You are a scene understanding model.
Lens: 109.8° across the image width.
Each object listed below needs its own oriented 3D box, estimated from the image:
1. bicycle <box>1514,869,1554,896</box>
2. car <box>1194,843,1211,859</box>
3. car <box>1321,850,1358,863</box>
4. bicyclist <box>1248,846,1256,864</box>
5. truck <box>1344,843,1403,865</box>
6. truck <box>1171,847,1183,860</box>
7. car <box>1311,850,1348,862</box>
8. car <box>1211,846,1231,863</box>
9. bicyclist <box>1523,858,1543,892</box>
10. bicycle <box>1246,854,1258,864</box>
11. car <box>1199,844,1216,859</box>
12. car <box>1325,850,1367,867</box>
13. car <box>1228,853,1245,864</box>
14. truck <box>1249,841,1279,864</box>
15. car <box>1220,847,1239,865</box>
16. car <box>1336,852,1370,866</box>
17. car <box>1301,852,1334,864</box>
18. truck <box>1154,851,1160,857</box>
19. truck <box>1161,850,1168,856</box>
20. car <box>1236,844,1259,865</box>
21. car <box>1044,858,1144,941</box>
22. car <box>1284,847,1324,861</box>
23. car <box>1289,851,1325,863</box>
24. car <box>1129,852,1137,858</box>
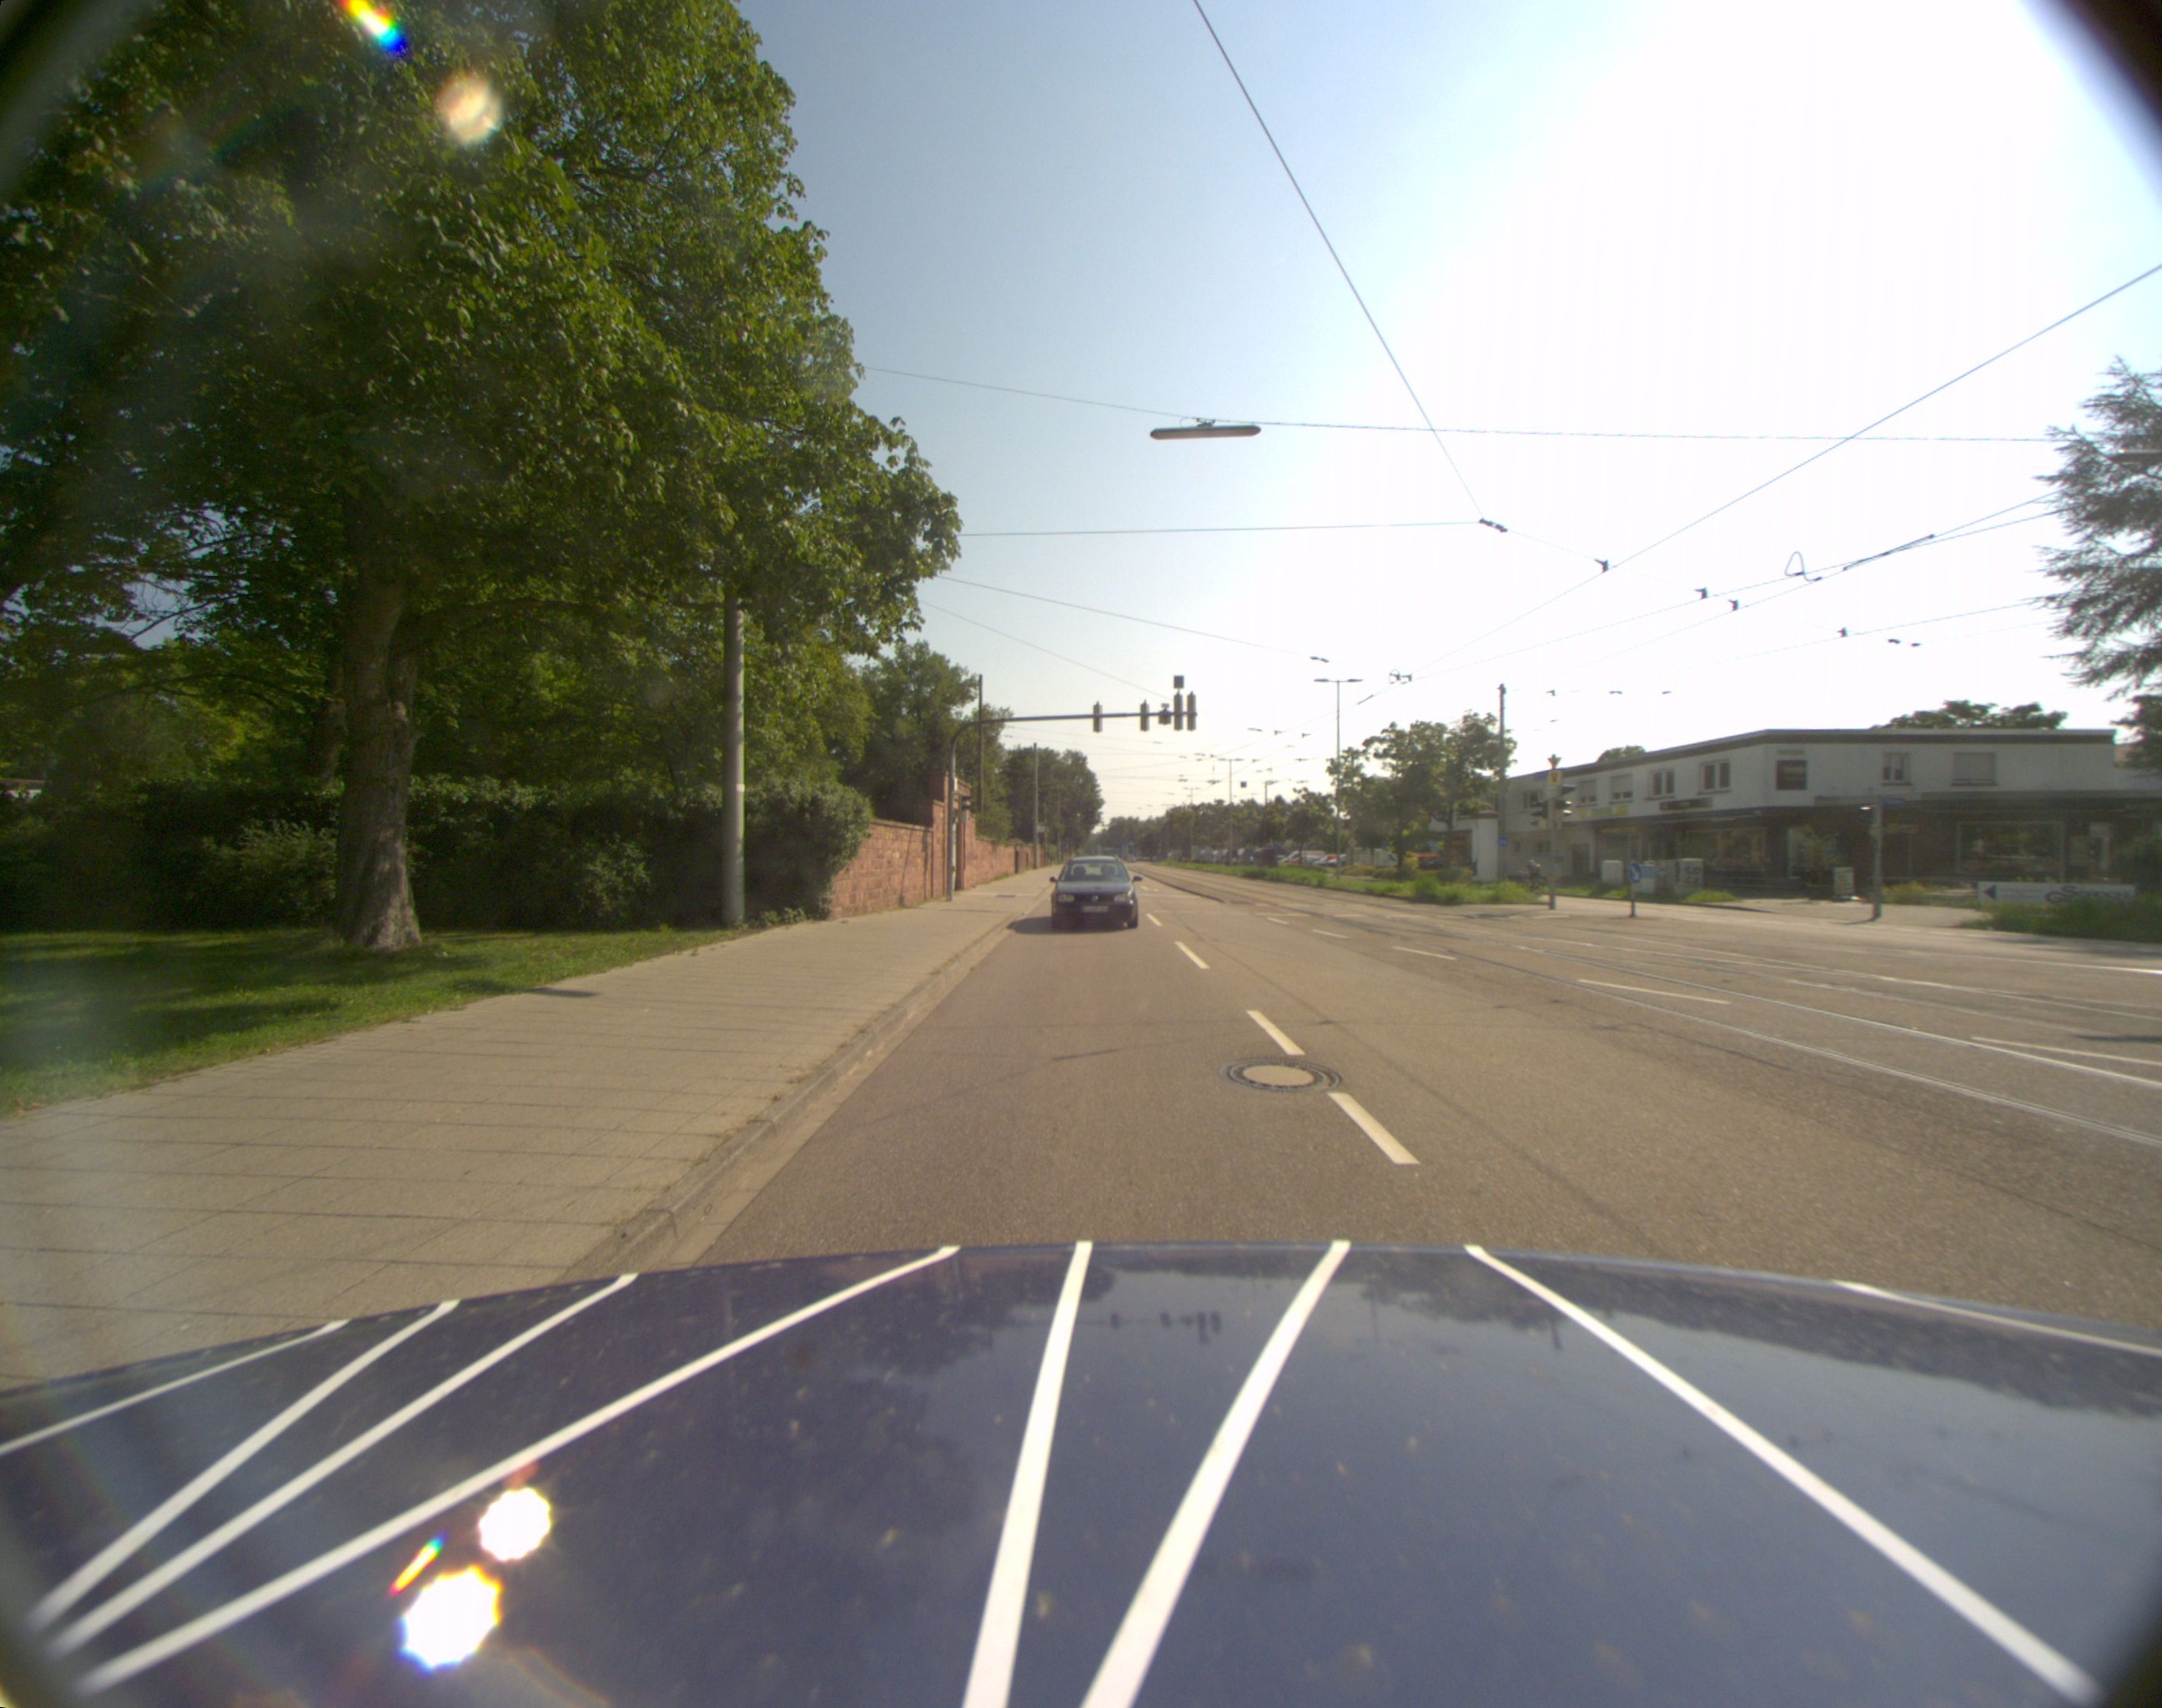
[{"bbox_3d":[20.620,1.285,34.642,0.576,1.172,2.209,2,-1,3],"label":"bicycle"},{"bbox_3d":[22.871,-0.534,143.503,2.129,2.789,7.231,2,1,2],"label":"car"},{"bbox_3d":[31.855,0.292,93.829,3.933,1.510,1.633,2,1,0],"label":"car"},{"bbox_3d":[19.200,0.082,85.488,0.639,2.052,0.774,2,1,-2],"label":"bicyclist"},{"bbox_3d":[32.119,-0.011,83.524,5.503,2.160,2.259,2,1,0],"label":"truck"},{"bbox_3d":[23.481,-0.166,186.509,2.278,3.103,8.788,2,1,4],"label":"truck"},{"bbox_3d":[32.032,0.264,98.017,4.167,1.455,1.624,2,0,-1],"label":"car"},{"bbox_3d":[21.891,0.076,119.266,2.137,2.571,5.631,2,1,2],"label":"car"},{"bbox_3d":[20.631,0.943,34.697,0.569,1.514,0.490,2,1,2],"label":"bicyclist"},{"bbox_3d":[19.226,0.563,85.481,0.717,1.085,2.264,2,1,-2],"label":"bicycle"},{"bbox_3d":[22.265,-0.418,133.890,2.148,2.444,4.831,2,1,0],"label":"car"},{"bbox_3d":[31.748,0.515,91.181,4.409,1.774,1.633,2,1,0],"label":"car"},{"bbox_3d":[21.559,0.613,105.399,1.748,1.543,3.834,0,0,4],"label":"car"},{"bbox_3d":[21.415,-0.180,88.998,2.086,2.533,5.738,2,1,1],"label":"truck"},{"bbox_3d":[21.716,0.339,111.186,1.826,2.571,5.910,0,0,2],"label":"car"},{"bbox_3d":[31.499,0.584,88.043,3.413,1.418,1.633,2,1,0],"label":"car"},{"bbox_3d":[32.499,0.525,104.317,3.933,1.441,1.633,2,1,0],"label":"car"},{"bbox_3d":[22.729,-0.002,227.424,1.691,1.665,3.655,2,1,2],"label":"truck"},{"bbox_3d":[23.853,-0.192,216.935,1.691,1.665,3.655,2,1,2],"label":"truck"},{"bbox_3d":[21.625,0.070,98.899,1.993,2.571,6.468,0,1,3],"label":"car"},{"bbox_3d":[0.309,0.826,15.510,1.776,1.416,3.935,-1,0,2],"label":"car"},{"bbox_3d":[33.034,-0.024,112.554,5.198,1.914,2.052,2,1,0],"label":"car"},{"bbox_3d":[32.494,0.443,109.496,4.665,1.441,1.633,2,1,0],"label":"car"},{"bbox_3d":[12.645,0.277,183.569,1.726,1.317,4.000,2,1,1],"label":"car"}]
